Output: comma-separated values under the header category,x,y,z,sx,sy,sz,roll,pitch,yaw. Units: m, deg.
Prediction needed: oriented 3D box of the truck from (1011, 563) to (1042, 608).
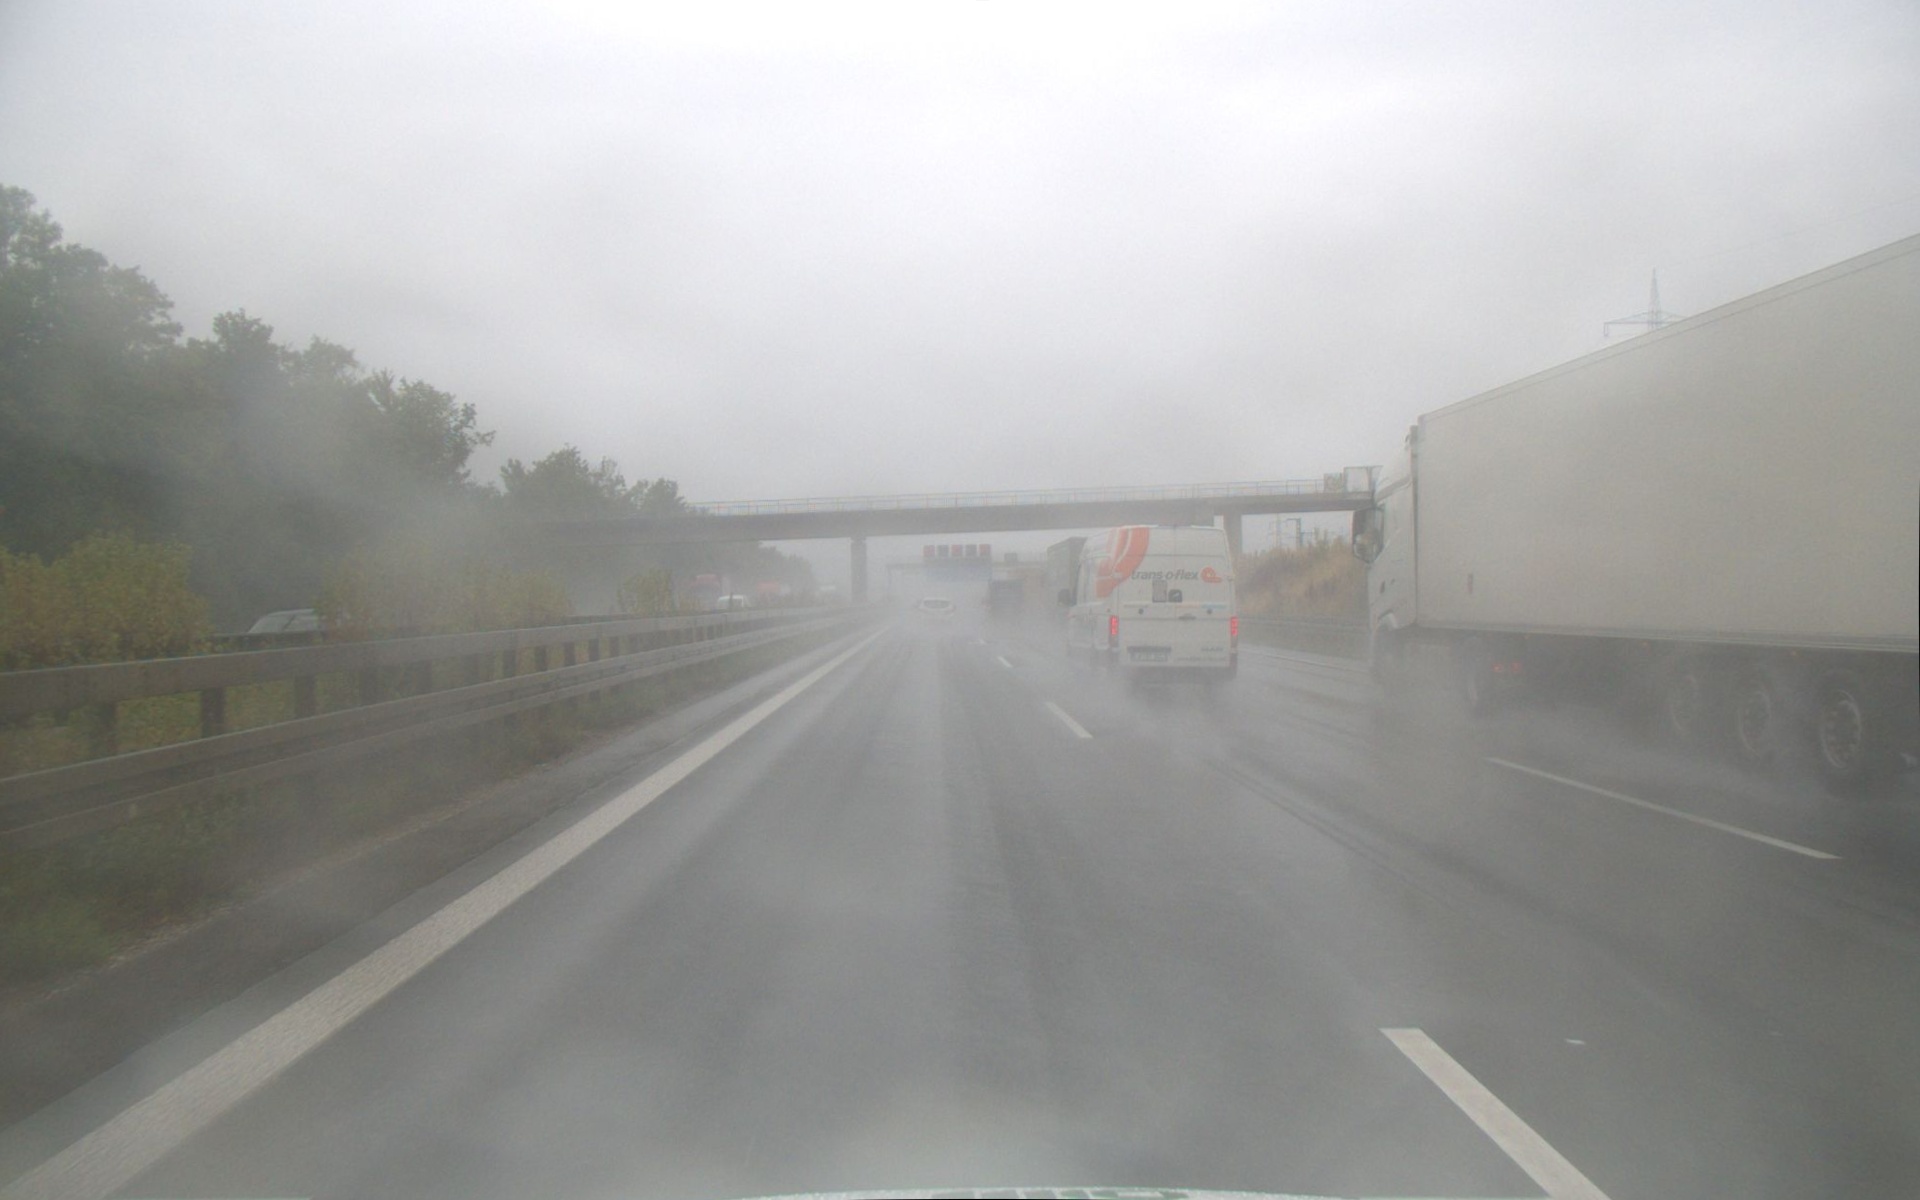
category,x,y,z,sx,sy,sz,roll,pitch,yaw
truck,5.491,-1.229,136.899,2.066,3.577,5.246,1,1,-2

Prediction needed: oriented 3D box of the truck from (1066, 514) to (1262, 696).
category,x,y,z,sx,sy,sz,roll,pitch,yaw
truck,3.049,-0.007,26.096,2.370,2.535,5.560,1,1,0

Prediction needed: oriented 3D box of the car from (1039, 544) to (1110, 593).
category,x,y,z,sx,sy,sz,roll,pitch,yaw
car,5.044,-1.425,73.915,2.731,2.048,4.992,1,2,-1

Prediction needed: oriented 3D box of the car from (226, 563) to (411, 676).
category,x,y,z,sx,sy,sz,roll,pitch,yaw
car,-11.602,0.339,30.227,1.874,1.892,4.307,1,0,-3

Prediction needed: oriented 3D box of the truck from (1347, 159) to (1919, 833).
category,x,y,z,sx,sy,sz,roll,pitch,yaw
truck,7.941,-0.784,18.369,2.978,4.668,16.346,1,1,-2
